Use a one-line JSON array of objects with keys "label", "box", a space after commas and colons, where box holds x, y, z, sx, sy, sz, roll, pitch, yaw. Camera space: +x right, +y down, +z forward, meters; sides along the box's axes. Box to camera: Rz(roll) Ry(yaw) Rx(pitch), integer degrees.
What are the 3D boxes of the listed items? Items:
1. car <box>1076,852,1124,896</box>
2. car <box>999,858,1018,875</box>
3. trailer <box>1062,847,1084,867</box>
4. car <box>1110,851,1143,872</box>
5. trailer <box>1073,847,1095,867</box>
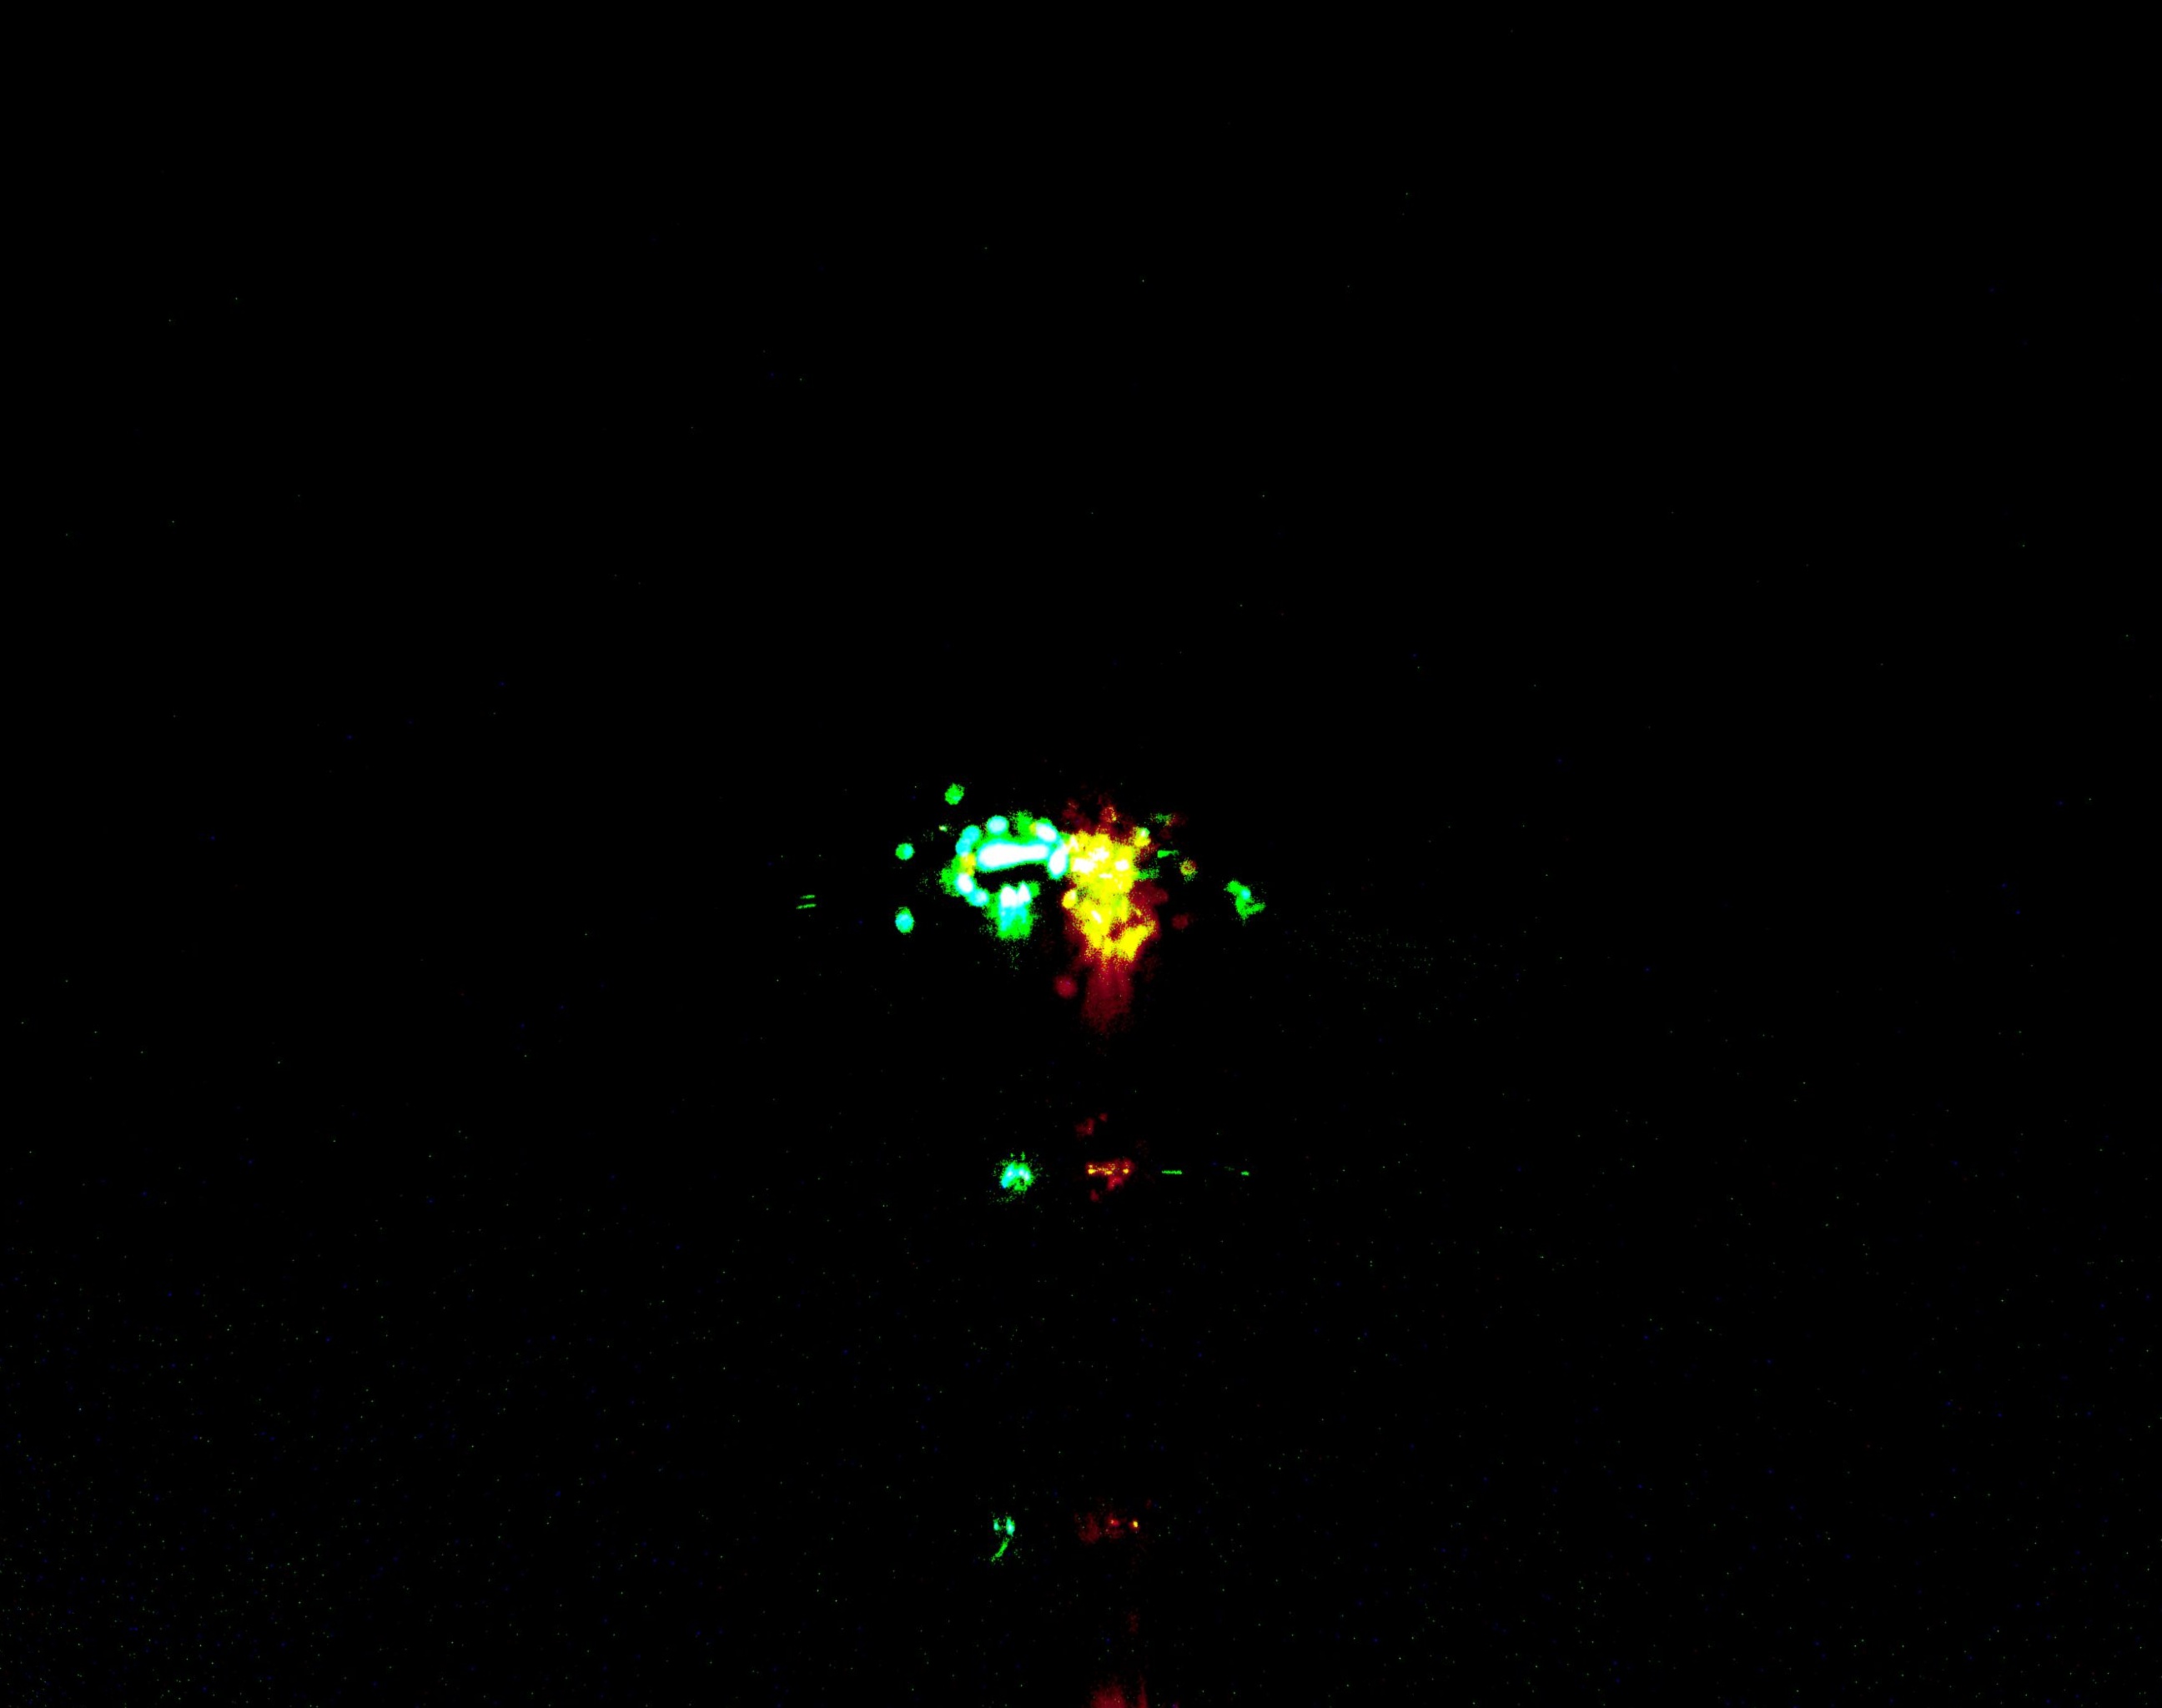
[{"label": "car", "box": [0.767, 0.758, 32.561, 1.795, 1.628, 3.616, -1, 0, 2]}, {"label": "car", "box": [-8.120, 1.394, 90.782, 1.974, 1.778, 3.992, -1, -1, -6]}, {"label": "trailer", "box": [-1.043, 0.384, 102.248, 1.632, 2.365, 4.630, 1, -1, -14]}, {"label": "car", "box": [4.539, 0.757, 81.334, 1.882, 2.040, 4.366, -1, -1, -17]}, {"label": "trailer", "box": [0.283, 0.353, 97.502, 1.607, 2.352, 4.410, 1, -1, -14]}]
